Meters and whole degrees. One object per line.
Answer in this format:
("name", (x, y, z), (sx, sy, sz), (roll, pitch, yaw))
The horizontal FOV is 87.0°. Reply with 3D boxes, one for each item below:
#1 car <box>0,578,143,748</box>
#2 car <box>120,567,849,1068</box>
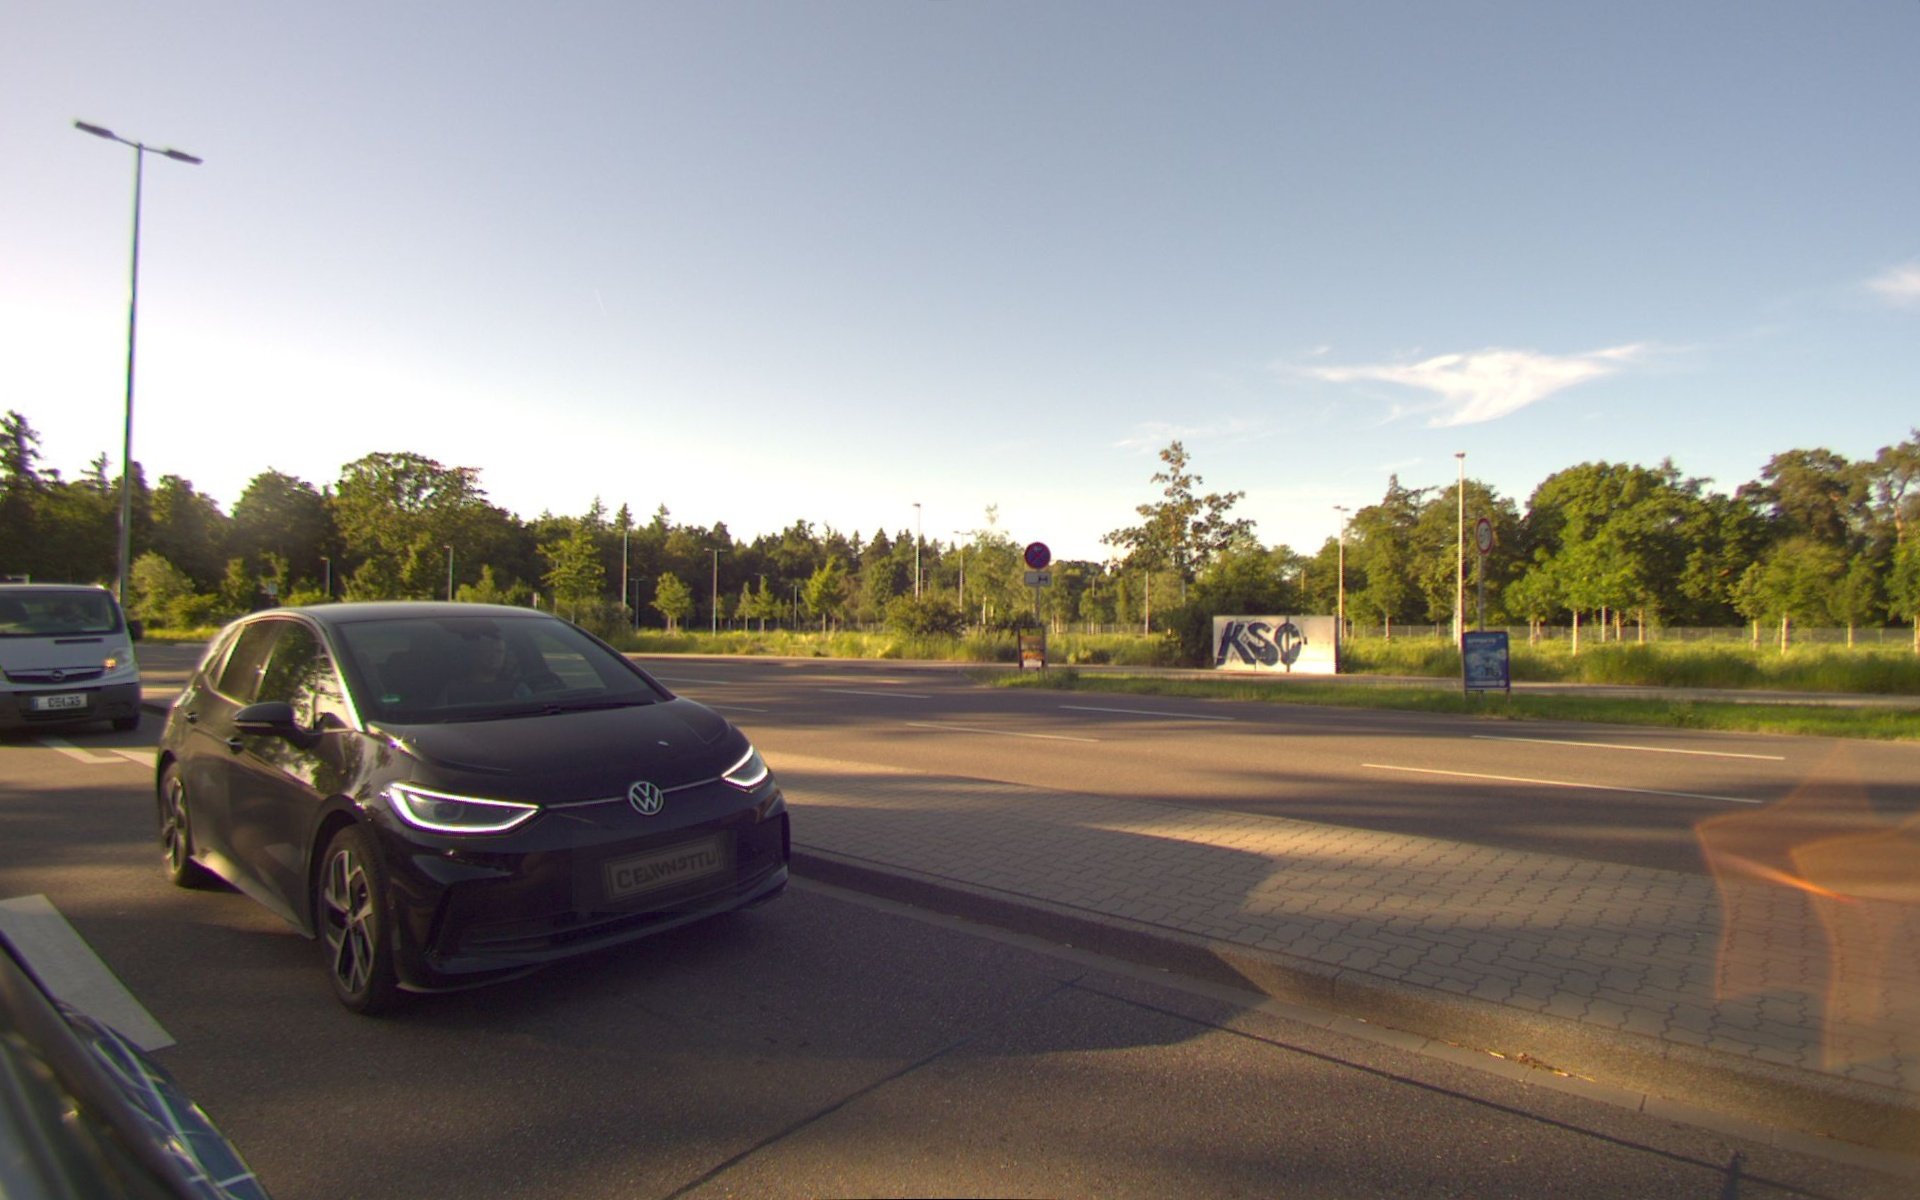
("car", (-12.902, 0.795, 13.772), (5.044, 1.977, 1.859), (-2, -1, 40))
("car", (-2.625, 0.683, 5.142), (3.997, 1.548, 1.859), (-1, 0, 40))
